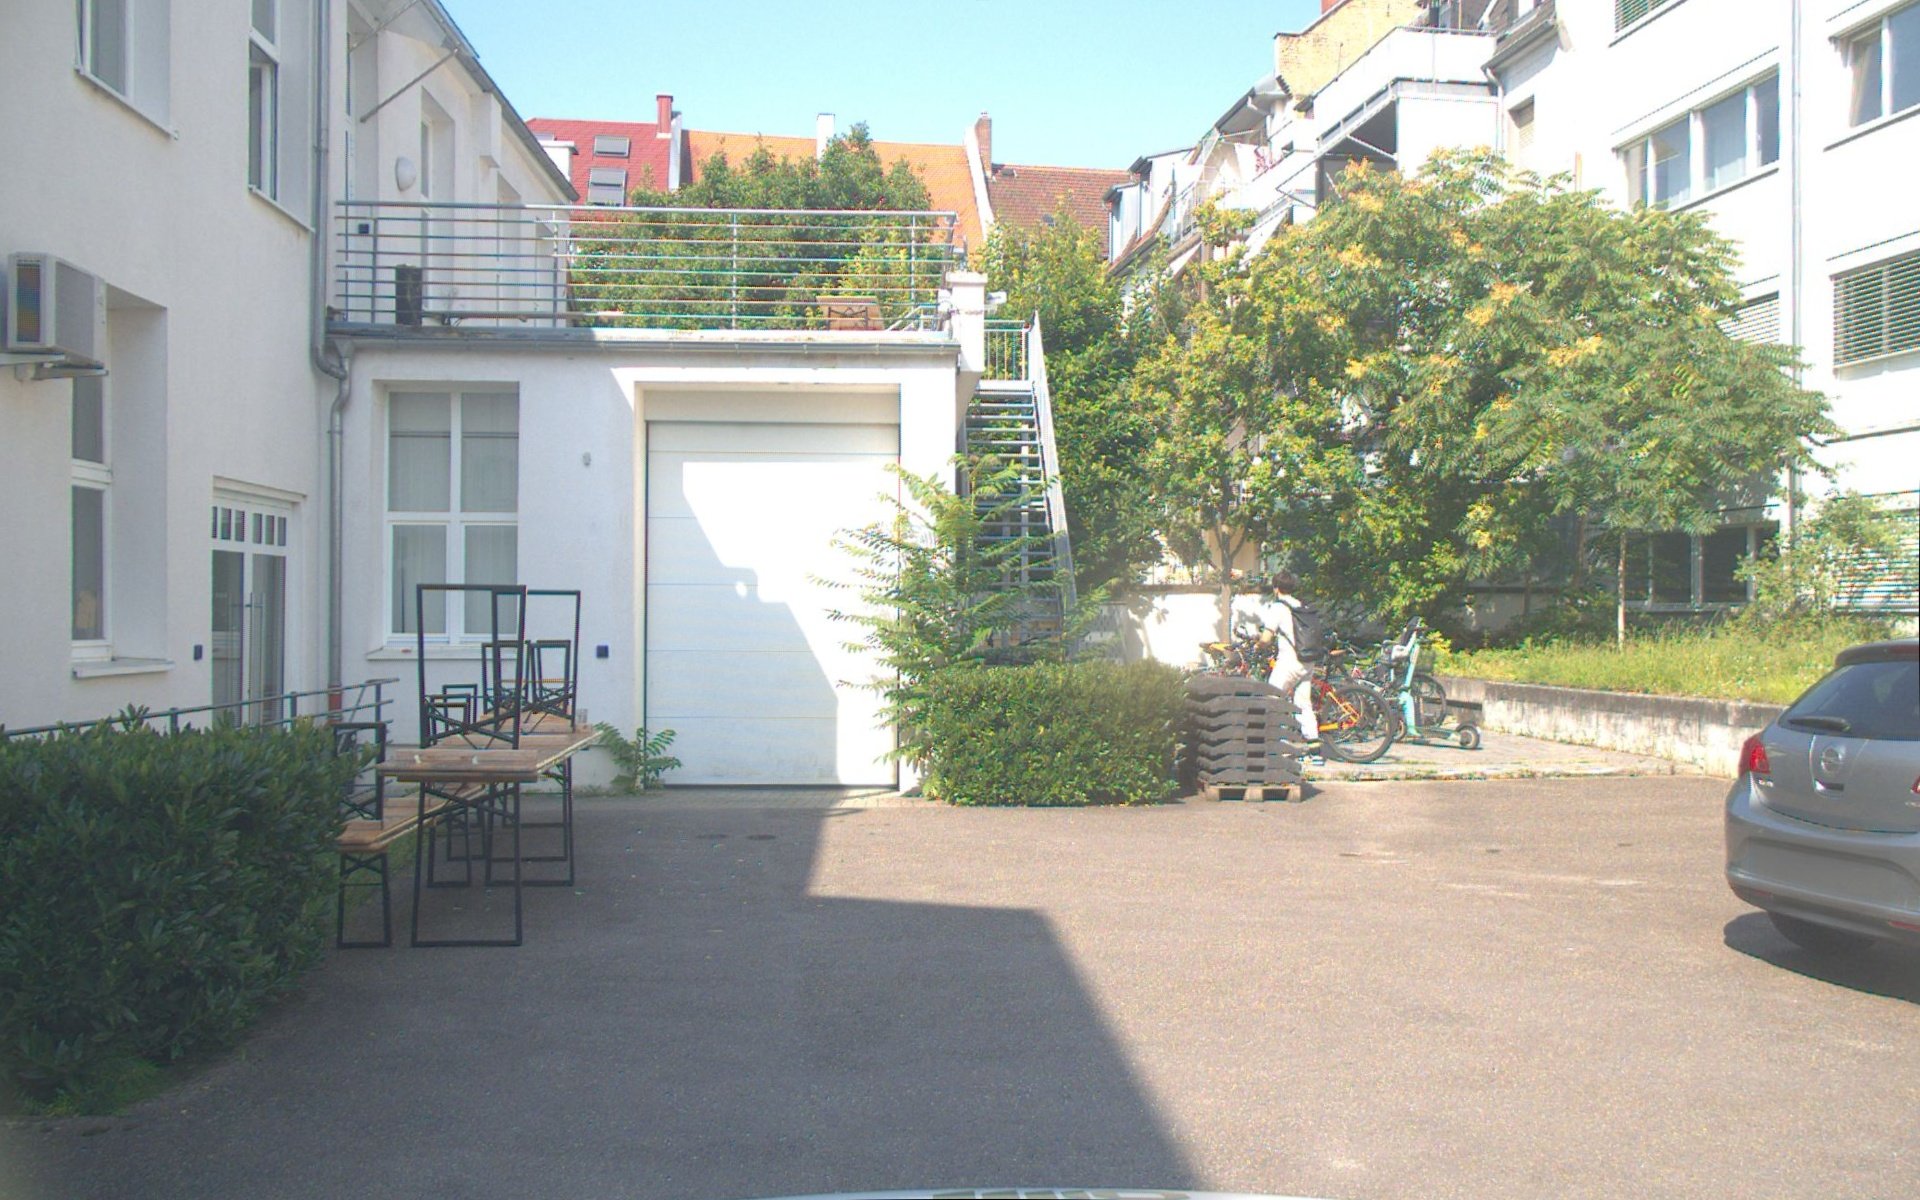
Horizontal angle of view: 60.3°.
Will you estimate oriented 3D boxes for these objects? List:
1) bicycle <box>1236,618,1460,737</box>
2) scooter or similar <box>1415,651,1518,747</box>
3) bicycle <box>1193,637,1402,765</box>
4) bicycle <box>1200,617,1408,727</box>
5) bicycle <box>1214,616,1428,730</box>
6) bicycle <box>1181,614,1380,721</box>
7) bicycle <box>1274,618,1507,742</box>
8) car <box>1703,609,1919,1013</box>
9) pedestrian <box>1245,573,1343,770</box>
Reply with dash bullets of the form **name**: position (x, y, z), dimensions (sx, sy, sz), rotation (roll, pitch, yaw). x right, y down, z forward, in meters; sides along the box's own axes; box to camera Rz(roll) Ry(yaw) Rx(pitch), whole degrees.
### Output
- **bicycle**: position (4.297, 0.854, 18.361), dimensions (2.363, 1.268, 0.526), rotation (1, -1, -3)
- **scooter or similar**: position (5.267, 1.020, 17.221), dimensions (0.357, 0.940, 0.985), rotation (1, -1, -40)
- **bicycle**: position (3.266, 0.951, 16.108), dimensions (1.952, 1.163, 0.488), rotation (-1, 0, 34)
- **bicycle**: position (4.099, 0.856, 19.765), dimensions (2.363, 1.268, 0.526), rotation (1, -1, -3)
- **bicycle**: position (4.170, 0.841, 19.152), dimensions (2.363, 1.268, 0.526), rotation (1, -1, -3)
- **bicycle**: position (3.955, 0.831, 20.472), dimensions (2.363, 1.268, 0.526), rotation (1, -1, -3)
- **bicycle**: position (4.601, 0.848, 17.713), dimensions (2.363, 1.268, 0.526), rotation (1, -1, -3)
- **car**: position (5.324, 0.782, 7.017), dimensions (3.834, 1.491, 1.655), rotation (0, 0, -17)
- **pedestrian**: position (3.168, 0.658, 15.656), dimensions (0.599, 1.803, 0.857), rotation (0, -1, 36)
